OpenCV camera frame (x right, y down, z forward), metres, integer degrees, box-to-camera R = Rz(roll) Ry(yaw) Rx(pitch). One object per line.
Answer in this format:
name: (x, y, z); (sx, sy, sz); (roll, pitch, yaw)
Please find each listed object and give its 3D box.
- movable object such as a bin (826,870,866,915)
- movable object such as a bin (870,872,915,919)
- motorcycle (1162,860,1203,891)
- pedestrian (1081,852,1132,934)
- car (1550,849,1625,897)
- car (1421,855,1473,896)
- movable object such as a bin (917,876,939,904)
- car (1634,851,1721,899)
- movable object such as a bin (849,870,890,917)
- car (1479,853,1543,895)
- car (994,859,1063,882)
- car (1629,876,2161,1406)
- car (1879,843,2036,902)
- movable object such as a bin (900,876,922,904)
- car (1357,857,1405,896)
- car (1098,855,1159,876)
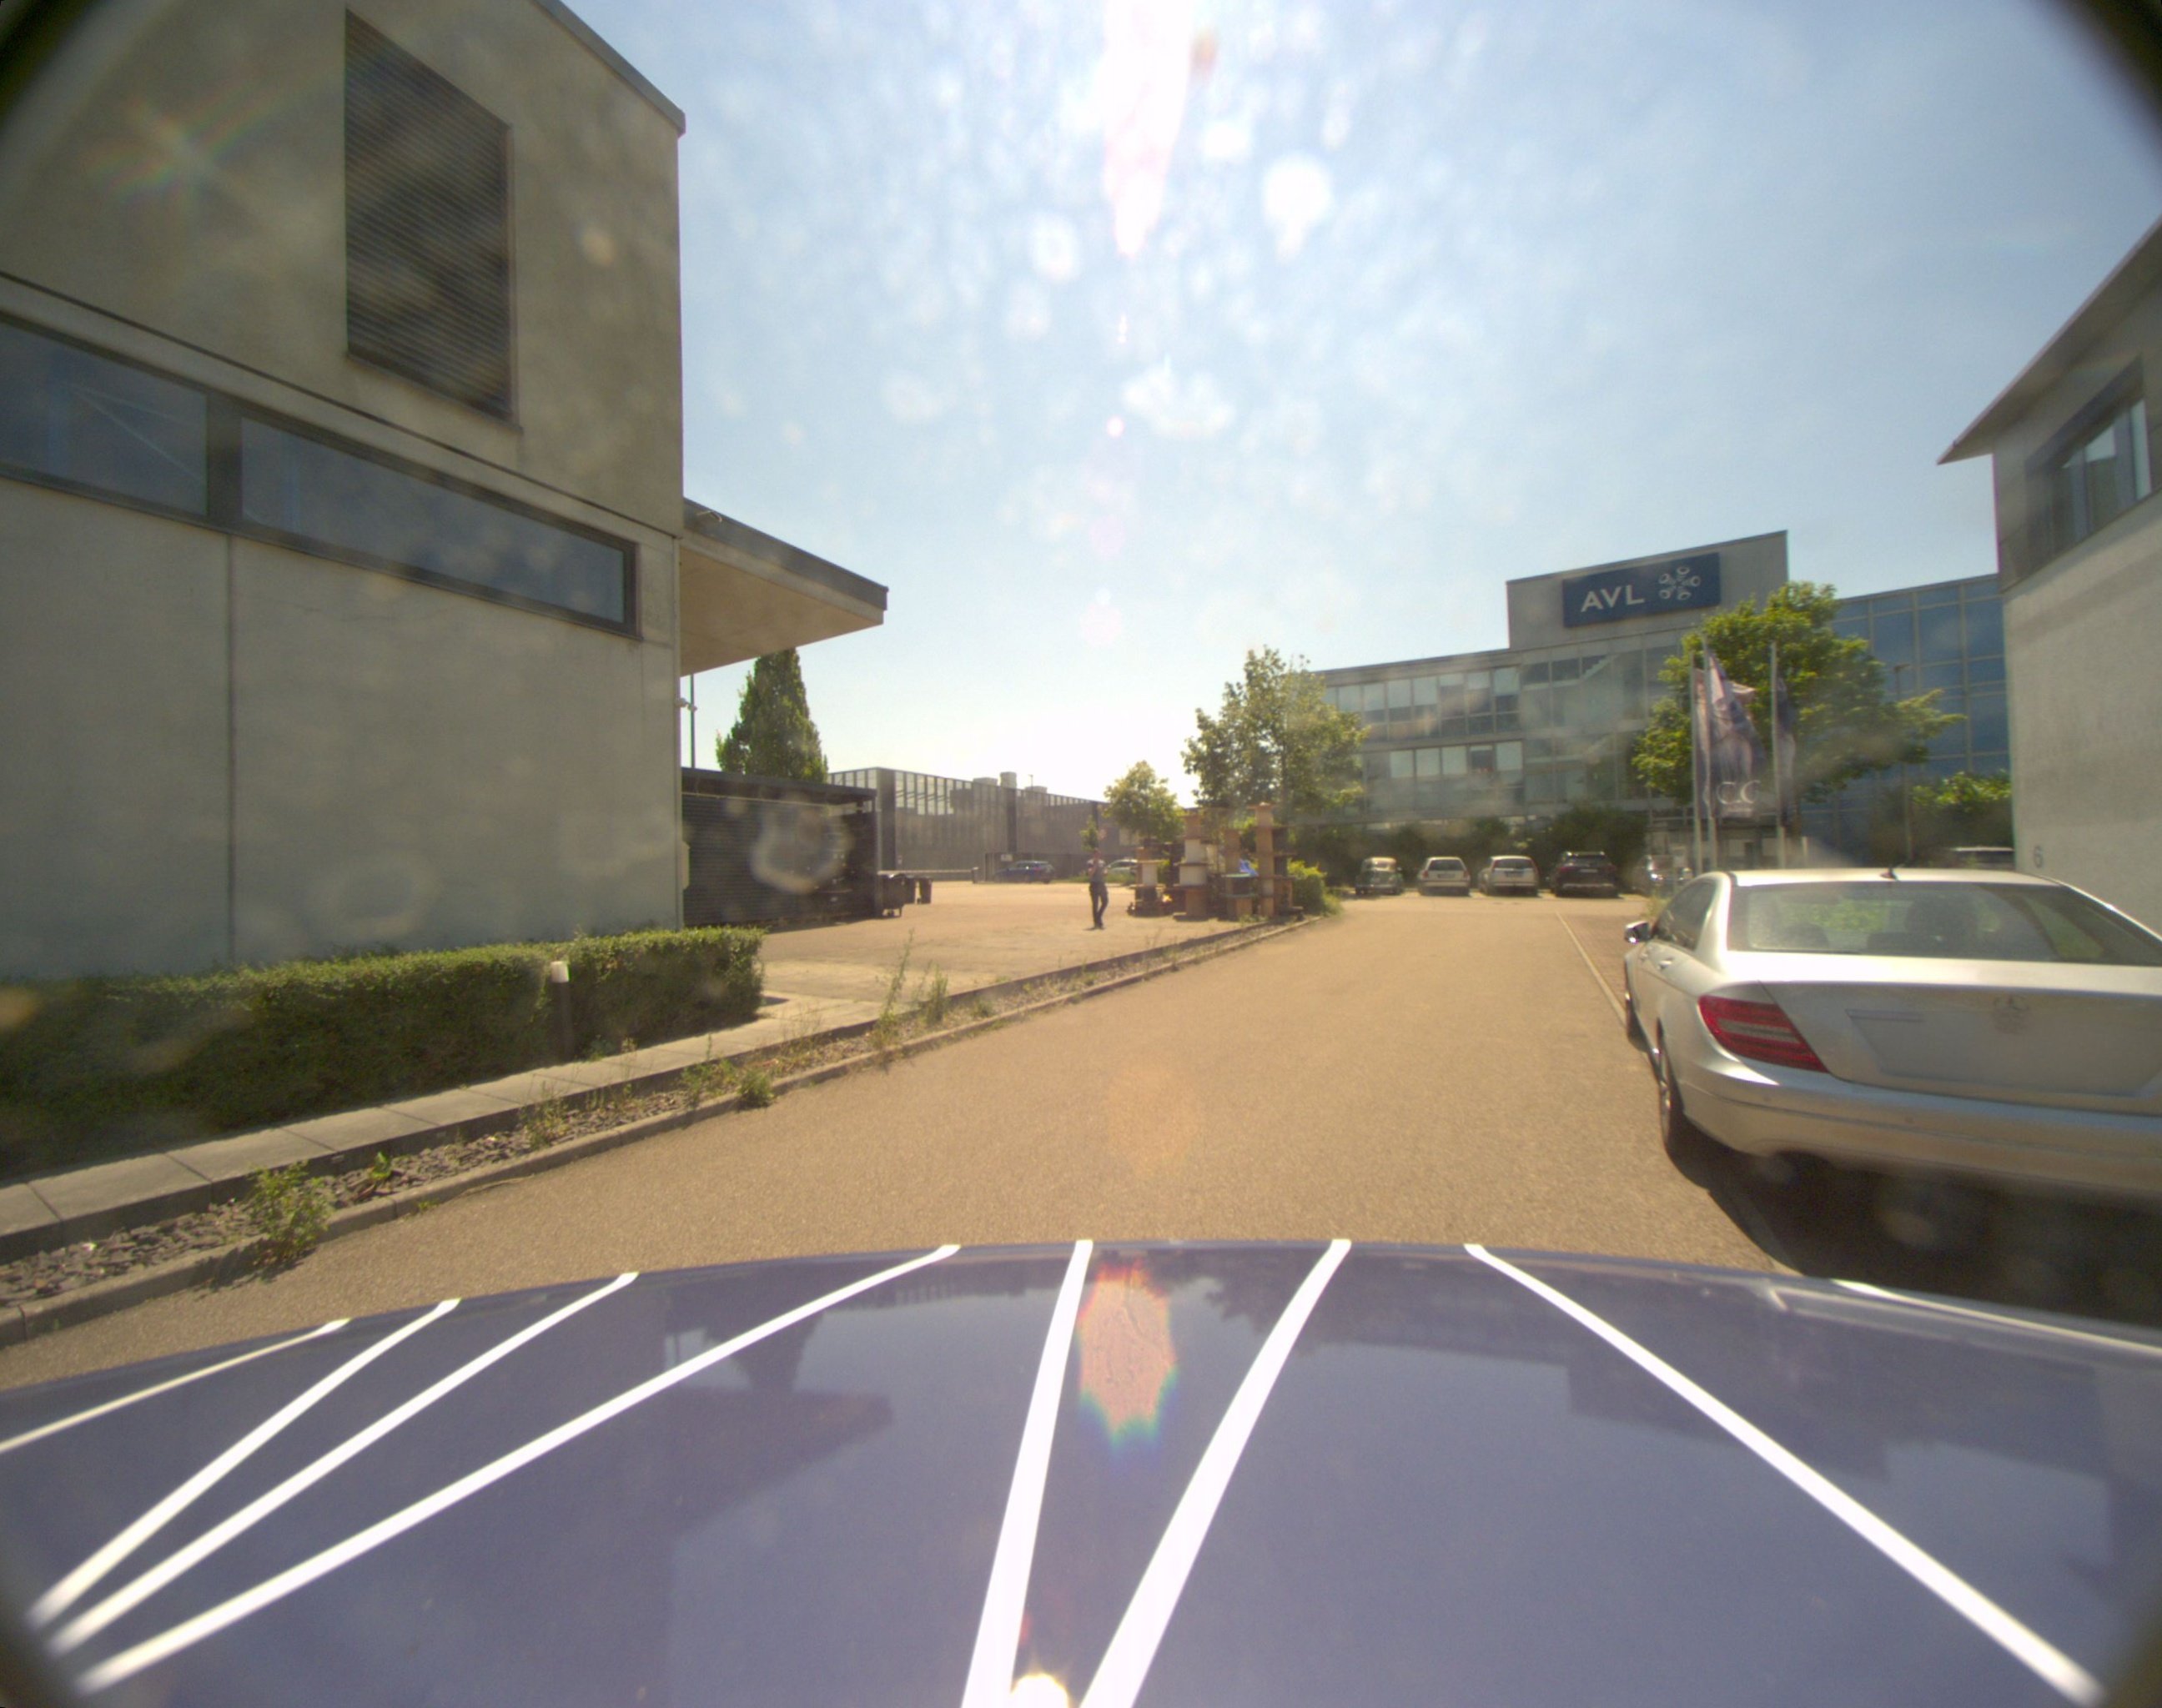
movable object such as a bin: (-7.026, 1.135, 22.703); (0.808, 1.290, 0.803); (0, 1, 38)
movable object such as a bin: (-5.313, 1.160, 21.421); (0.874, 1.242, 0.803); (0, 1, 38)
motorcycle: (4.590, 0.937, 34.031); (0.872, 1.252, 2.840); (-1, 1, 28)
pedestrian: (0.577, 0.849, 17.103); (0.810, 1.758, 0.767); (-2, 1, -30)
car: (18.477, 0.631, 27.873); (1.935, 1.593, 3.866); (0, 1, 28)
car: (14.228, 0.769, 29.703); (1.639, 1.444, 3.606); (0, 1, 23)
movable object such as a bin: (-5.263, 1.237, 26.112); (0.585, 0.912, 0.548); (-1, 1, 5)
car: (20.613, 0.679, 26.441); (1.726, 1.475, 4.405); (-1, 0, 30)
movable object such as a bin: (-6.121, 1.131, 21.987); (0.754, 1.290, 0.803); (0, 1, 38)
car: (16.438, 0.730, 29.190); (1.728, 1.444, 3.606); (0, 1, 23)
car: (-3.442, 1.046, 49.044); (4.434, 1.401, 1.863); (-1, 0, 42)
car: (4.185, 0.917, 4.127); (1.730, 1.448, 4.156); (-1, 0, 33)
car: (26.646, 0.512, 23.291); (1.828, 1.628, 4.179); (-1, 0, 29)
movable object such as a bin: (-5.872, 1.245, 26.208); (0.585, 0.912, 0.548); (-1, 1, 5)
car: (12.144, 0.850, 30.655); (1.519, 1.437, 3.425); (0, 1, 26)
car: (3.448, 0.874, 56.170); (1.784, 1.467, 4.402); (-1, 0, -44)
